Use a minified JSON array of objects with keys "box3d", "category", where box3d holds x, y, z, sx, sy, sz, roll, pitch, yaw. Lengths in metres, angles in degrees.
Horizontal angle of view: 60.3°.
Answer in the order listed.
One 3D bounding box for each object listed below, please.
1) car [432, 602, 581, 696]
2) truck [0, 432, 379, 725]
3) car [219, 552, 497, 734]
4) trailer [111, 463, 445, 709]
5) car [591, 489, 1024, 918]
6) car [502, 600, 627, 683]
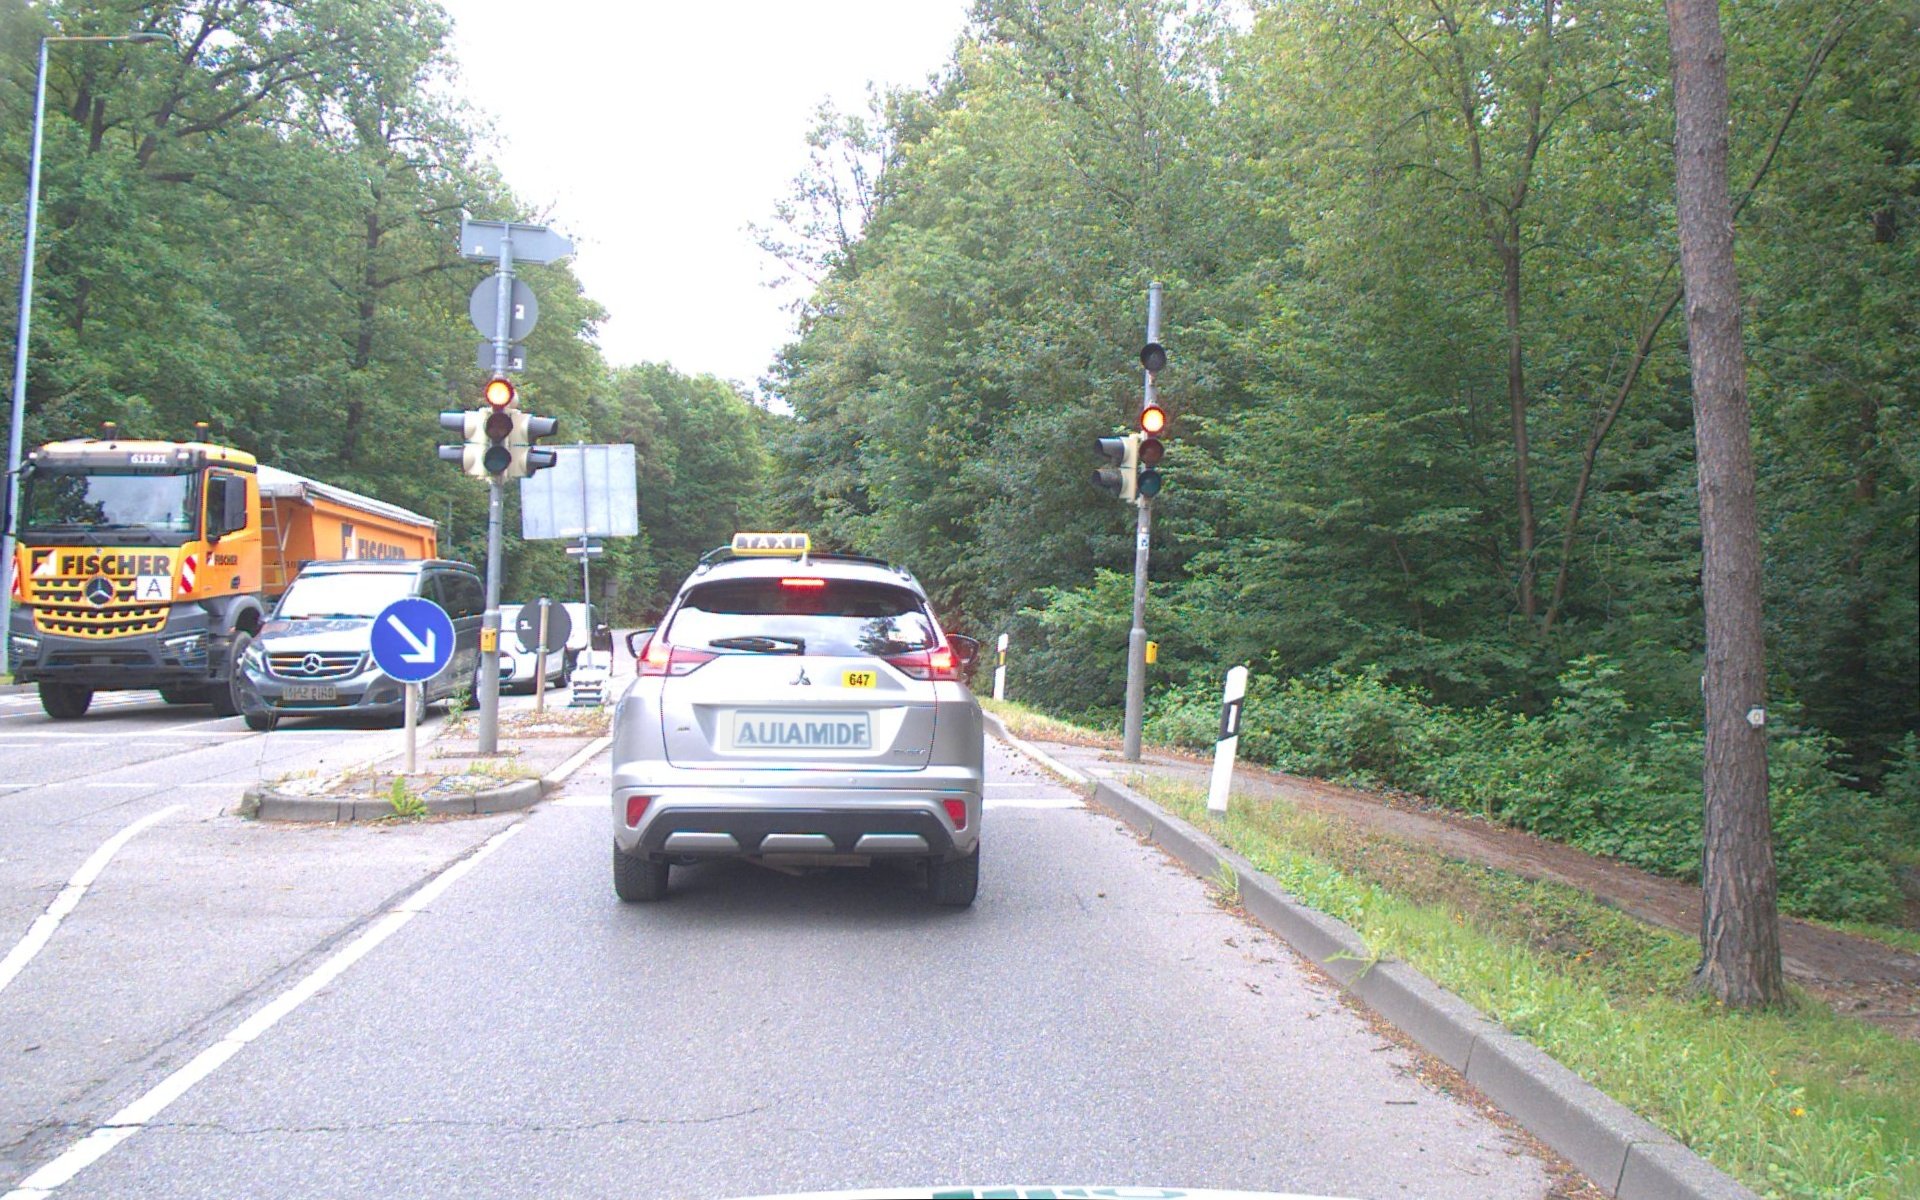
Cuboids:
[{"box3d":[-7.420,0.758,27.359,1.580,1.344,3.719,-1,1,-3],"category":"car"},{"box3d":[-10.267,-0.201,22.760,2.686,3.376,7.150,0,-1,-6],"category":"truck"},{"box3d":[-7.147,0.477,20.219,1.954,1.927,4.834,-1,-1,-5],"category":"car"},{"box3d":[-10.704,-0.137,27.049,2.686,3.376,8.557,0,-1,-6],"category":"trailer"},{"box3d":[-0.845,0.454,9.123,1.811,1.811,3.995,2,0,-6],"category":"car"},{"box3d":[-7.912,0.803,33.373,1.775,1.534,3.719,-1,0,-3],"category":"car"}]
